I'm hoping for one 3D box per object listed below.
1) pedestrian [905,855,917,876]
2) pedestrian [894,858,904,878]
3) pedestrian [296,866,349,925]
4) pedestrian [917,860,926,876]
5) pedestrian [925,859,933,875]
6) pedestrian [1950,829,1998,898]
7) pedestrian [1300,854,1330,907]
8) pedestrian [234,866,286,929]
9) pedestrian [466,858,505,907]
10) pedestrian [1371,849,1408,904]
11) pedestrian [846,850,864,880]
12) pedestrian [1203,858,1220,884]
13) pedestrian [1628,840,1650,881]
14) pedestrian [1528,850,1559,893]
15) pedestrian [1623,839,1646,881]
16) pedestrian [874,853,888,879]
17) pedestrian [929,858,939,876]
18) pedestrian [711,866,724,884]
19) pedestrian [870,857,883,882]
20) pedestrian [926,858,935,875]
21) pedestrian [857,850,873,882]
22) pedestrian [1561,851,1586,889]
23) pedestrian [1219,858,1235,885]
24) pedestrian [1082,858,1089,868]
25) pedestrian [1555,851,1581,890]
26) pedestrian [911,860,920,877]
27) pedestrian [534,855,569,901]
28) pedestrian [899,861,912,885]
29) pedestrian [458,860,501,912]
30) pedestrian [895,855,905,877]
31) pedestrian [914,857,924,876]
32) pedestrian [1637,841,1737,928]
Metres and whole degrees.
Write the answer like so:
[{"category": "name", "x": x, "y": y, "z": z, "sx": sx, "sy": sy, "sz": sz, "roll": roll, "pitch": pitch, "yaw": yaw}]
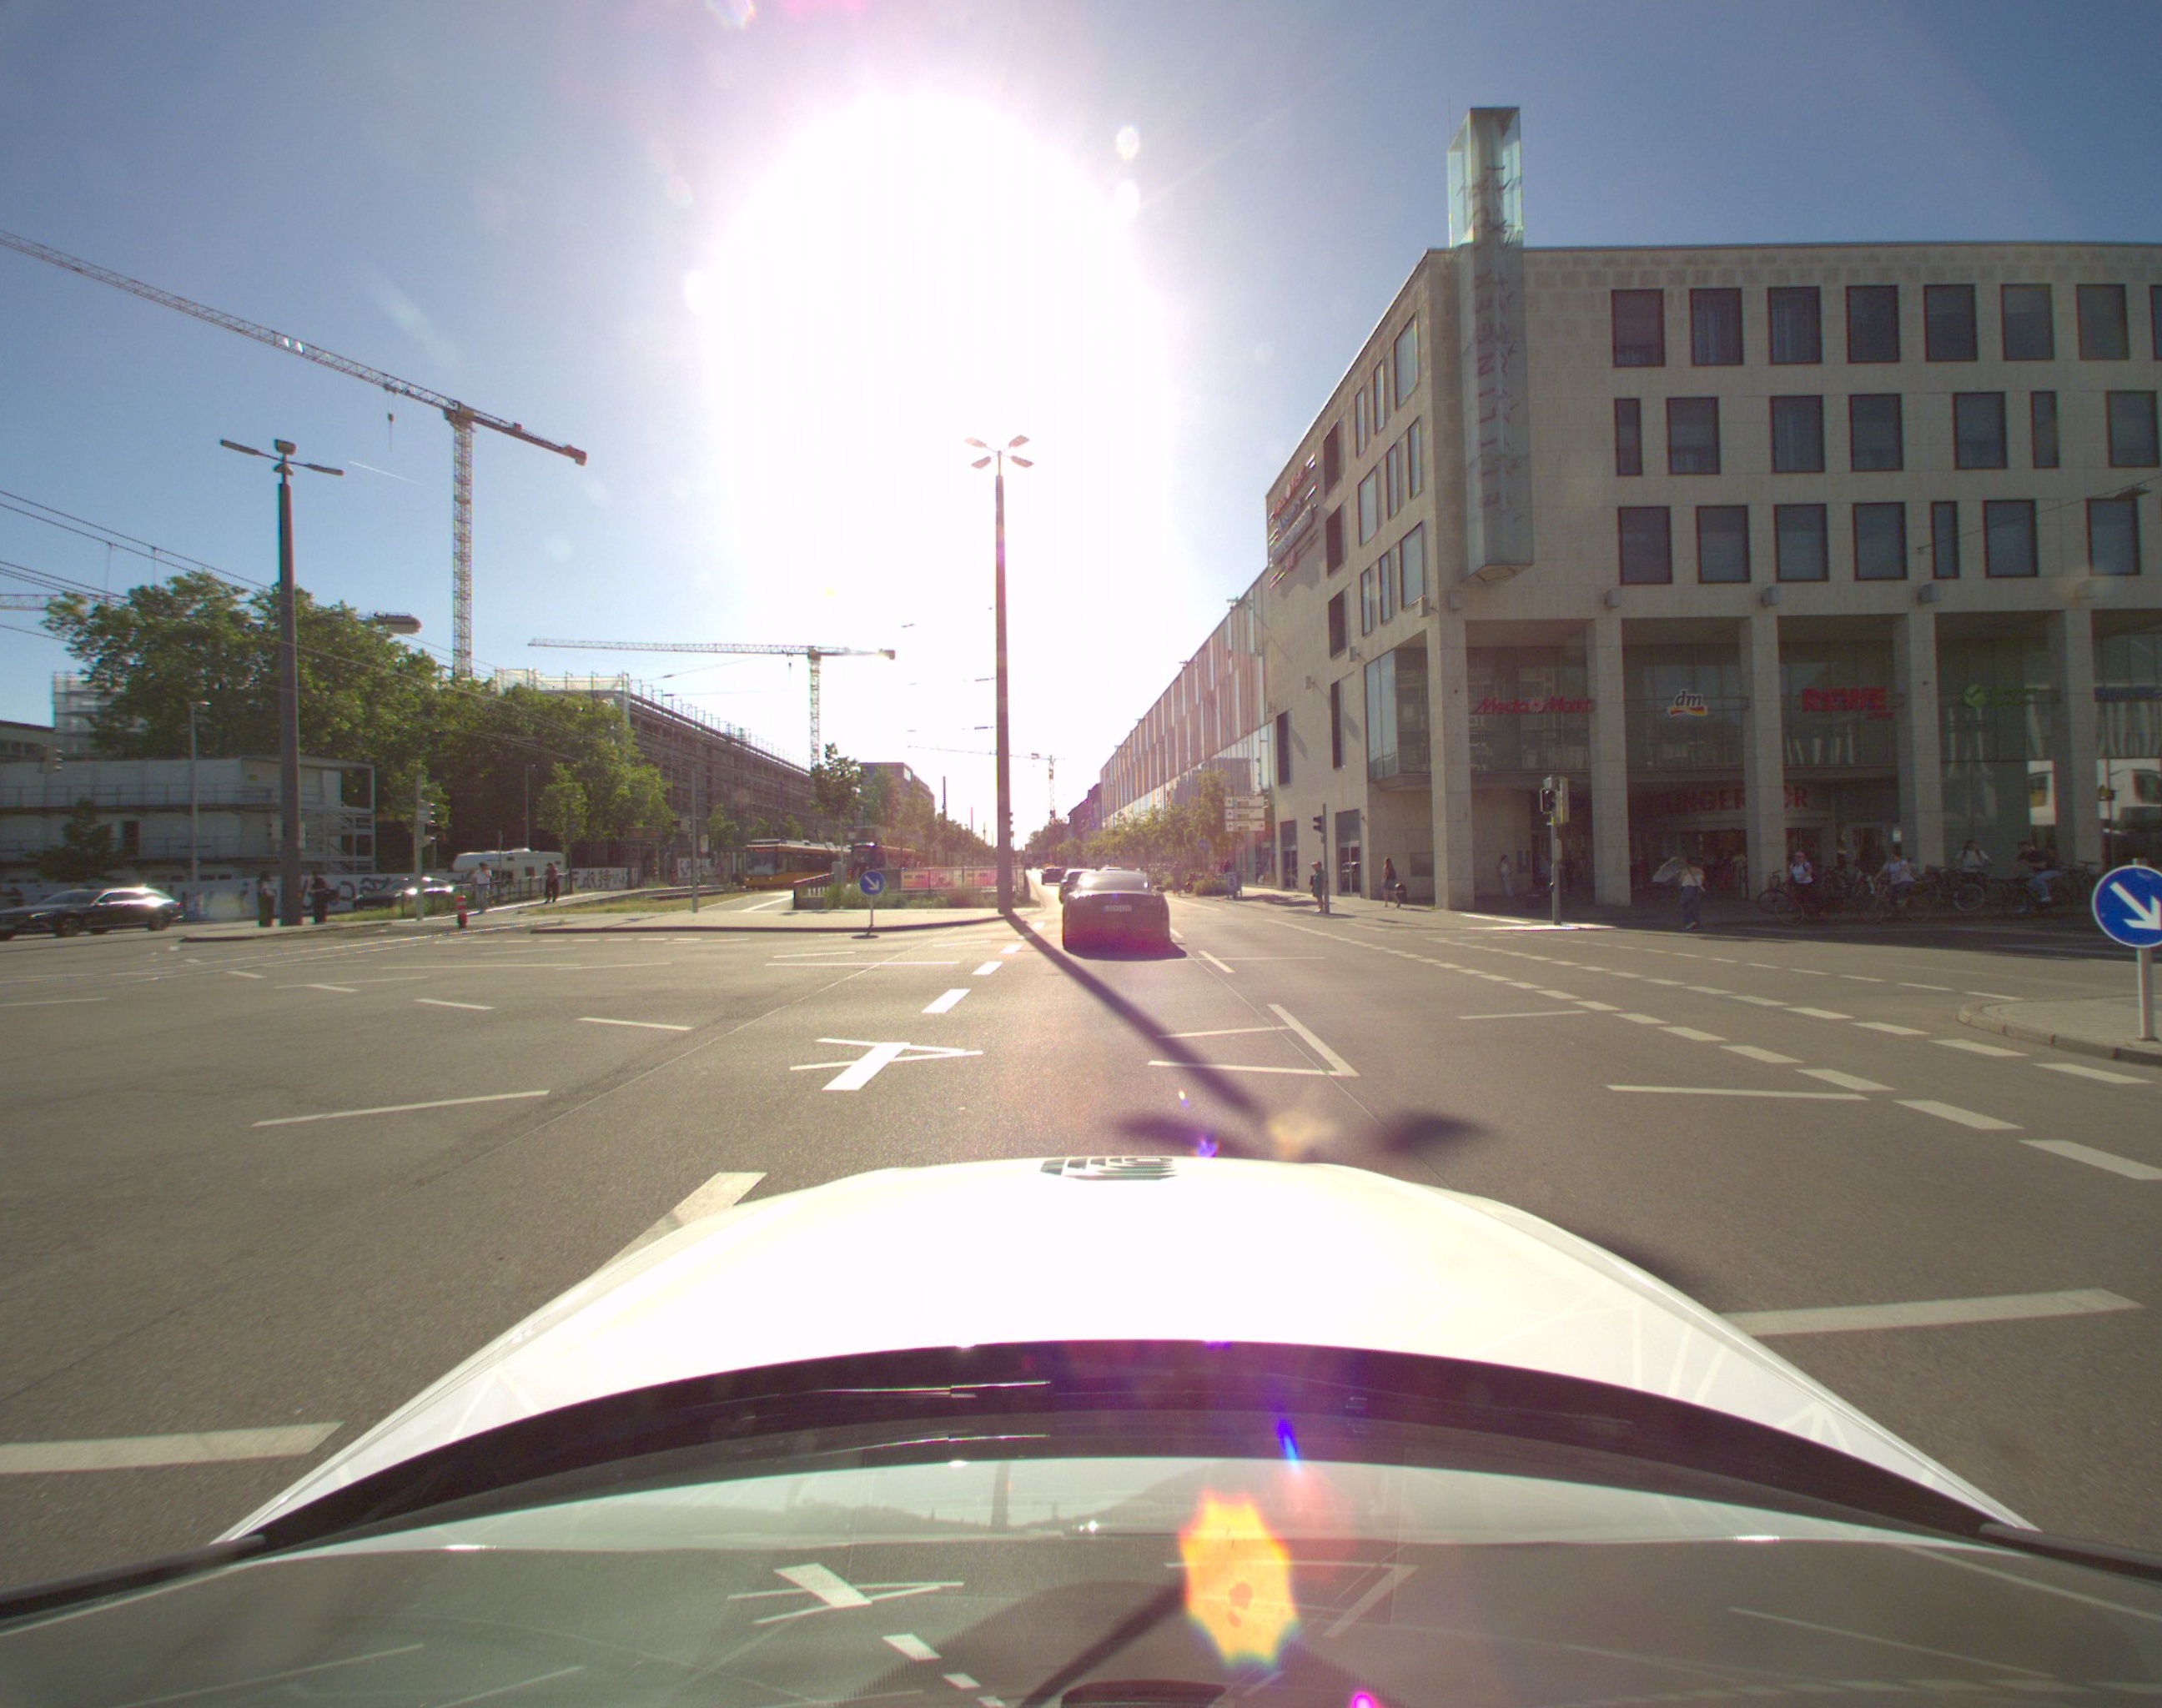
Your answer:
[{"category": "pedestrian", "x": -14.975, "y": 0.991, "z": 71.714, "sx": 0.885, "sy": 1.851, "sz": 1.006, "roll": -1, "pitch": -1, "yaw": -4}, {"category": "pedestrian", "x": -14.387, "y": 1.104, "z": 64.376, "sx": 0.646, "sy": 1.512, "sz": 0.587, "roll": 0, "pitch": 0, "yaw": -7}, {"category": "pedestrian", "x": -24.232, "y": 1.311, "z": 26.036, "sx": 0.799, "sy": 1.823, "sz": 0.974, "roll": -1, "pitch": 0, "yaw": -6}, {"category": "pedestrian", "x": -15.878, "y": 1.383, "z": 80.954, "sx": 0.740, "sy": 1.628, "sz": 0.860, "roll": -1, "pitch": -1, "yaw": -3}, {"category": "pedestrian", "x": -15.658, "y": 1.338, "z": 83.927, "sx": 0.740, "sy": 1.628, "sz": 0.860, "roll": -1, "pitch": -1, "yaw": -3}, {"category": "pedestrian", "x": 25.301, "y": 0.266, "z": 23.086, "sx": 0.638, "sy": 1.907, "sz": 0.734, "roll": -1, "pitch": -1, "yaw": -27}, {"category": "pedestrian", "x": 7.732, "y": 0.876, "z": 26.955, "sx": 0.656, "sy": 1.702, "sz": 0.696, "roll": -4, "pitch": 0, "yaw": -6}, {"category": "pedestrian", "x": -24.429, "y": 1.282, "z": 24.242, "sx": 0.792, "sy": 1.823, "sz": 0.887, "roll": -1, "pitch": 0, "yaw": 28}, {"category": "pedestrian", "x": -22.675, "y": 1.079, "z": 31.016, "sx": 0.799, "sy": 1.823, "sz": 0.974, "roll": -1, "pitch": 0, "yaw": -6}, {"category": "pedestrian", "x": 10.482, "y": 0.767, "z": 27.698, "sx": 0.726, "sy": 1.801, "sz": 1.064, "roll": -3, "pitch": -1, "yaw": -4}, {"category": "pedestrian", "x": -13.593, "y": 0.652, "z": 48.958, "sx": 0.873, "sy": 1.775, "sz": 1.186, "roll": 0, "pitch": 0, "yaw": -7}, {"category": "pedestrian", "x": 8.366, "y": 1.099, "z": 52.129, "sx": 0.820, "sy": 1.658, "sz": 0.897, "roll": -1, "pitch": -1, "yaw": -8}, {"category": "pedestrian", "x": 24.144, "y": 0.275, "z": 35.240, "sx": 0.559, "sy": 1.762, "sz": 0.643, "roll": -2, "pitch": 0, "yaw": -40}, {"category": "pedestrian", "x": 17.447, "y": 0.652, "z": 30.739, "sx": 0.721, "sy": 1.608, "sz": 0.749, "roll": -2, "pitch": 0, "yaw": -3}, {"category": "pedestrian", "x": 23.659, "y": 0.261, "z": 34.790, "sx": 0.559, "sy": 1.762, "sz": 0.643, "roll": -2, "pitch": 0, "yaw": -40}, {"category": "pedestrian", "x": -13.981, "y": 0.842, "z": 56.962, "sx": 0.790, "sy": 1.775, "sz": 0.976, "roll": 0, "pitch": 0, "yaw": -7}, {"category": "pedestrian", "x": -13.381, "y": 1.172, "z": 73.955, "sx": 0.740, "sy": 1.628, "sz": 0.860, "roll": -1, "pitch": -1, "yaw": -3}, {"category": "pedestrian", "x": -24.189, "y": 1.383, "z": 54.164, "sx": 0.670, "sy": 1.226, "sz": 0.505, "roll": 0, "pitch": -1, "yaw": -7}, {"category": "pedestrian", "x": -14.925, "y": 1.107, "z": 59.468, "sx": 0.760, "sy": 1.775, "sz": 0.825, "roll": 0, "pitch": 0, "yaw": -6}, {"category": "pedestrian", "x": -14.814, "y": 1.231, "z": 80.339, "sx": 0.740, "sy": 1.628, "sz": 0.946, "roll": -1, "pitch": -1, "yaw": -3}, {"category": "pedestrian", "x": -12.273, "y": 0.663, "z": 46.249, "sx": 0.702, "sy": 1.775, "sz": 0.957, "roll": 0, "pitch": 0, "yaw": -7}, {"category": "pedestrian", "x": 21.010, "y": 0.682, "z": 34.748, "sx": 0.559, "sy": 1.608, "sz": 0.741, "roll": -2, "pitch": 0, "yaw": -40}, {"category": "pedestrian", "x": 9.311, "y": 1.088, "z": 52.021, "sx": 0.706, "sy": 1.658, "sz": 0.897, "roll": -3, "pitch": 0, "yaw": -8}, {"category": "pedestrian", "x": 0.884, "y": 1.627, "z": 150.423, "sx": 1.093, "sy": 1.863, "sz": 1.520, "roll": -1, "pitch": -1, "yaw": -5}, {"category": "pedestrian", "x": 20.513, "y": 0.672, "z": 34.306, "sx": 0.559, "sy": 1.608, "sz": 0.741, "roll": -2, "pitch": 0, "yaw": -40}, {"category": "pedestrian", "x": -15.782, "y": 1.367, "z": 77.582, "sx": 0.740, "sy": 1.628, "sz": 0.860, "roll": -1, "pitch": -1, "yaw": -3}, {"category": "pedestrian", "x": -21.342, "y": 0.949, "z": 32.818, "sx": 0.799, "sy": 1.823, "sz": 0.974, "roll": -1, "pitch": 0, "yaw": -6}, {"category": "pedestrian", "x": -12.443, "y": 1.343, "z": 57.626, "sx": 0.740, "sy": 1.628, "sz": 0.860, "roll": -1, "pitch": -1, "yaw": -3}, {"category": "pedestrian", "x": -21.387, "y": 1.121, "z": 28.980, "sx": 0.799, "sy": 1.823, "sz": 0.974, "roll": -1, "pitch": 0, "yaw": -6}, {"category": "pedestrian", "x": -15.362, "y": 1.024, "z": 69.008, "sx": 0.670, "sy": 1.811, "sz": 1.073, "roll": -1, "pitch": -1, "yaw": -5}, {"category": "pedestrian", "x": -14.586, "y": 1.117, "z": 73.193, "sx": 0.740, "sy": 1.628, "sz": 0.860, "roll": -1, "pitch": -1, "yaw": -3}, {"category": "pedestrian", "x": 13.435, "y": 0.646, "z": 18.119, "sx": 0.965, "sy": 1.801, "sz": 1.520, "roll": -3, "pitch": 0, "yaw": -4}]
